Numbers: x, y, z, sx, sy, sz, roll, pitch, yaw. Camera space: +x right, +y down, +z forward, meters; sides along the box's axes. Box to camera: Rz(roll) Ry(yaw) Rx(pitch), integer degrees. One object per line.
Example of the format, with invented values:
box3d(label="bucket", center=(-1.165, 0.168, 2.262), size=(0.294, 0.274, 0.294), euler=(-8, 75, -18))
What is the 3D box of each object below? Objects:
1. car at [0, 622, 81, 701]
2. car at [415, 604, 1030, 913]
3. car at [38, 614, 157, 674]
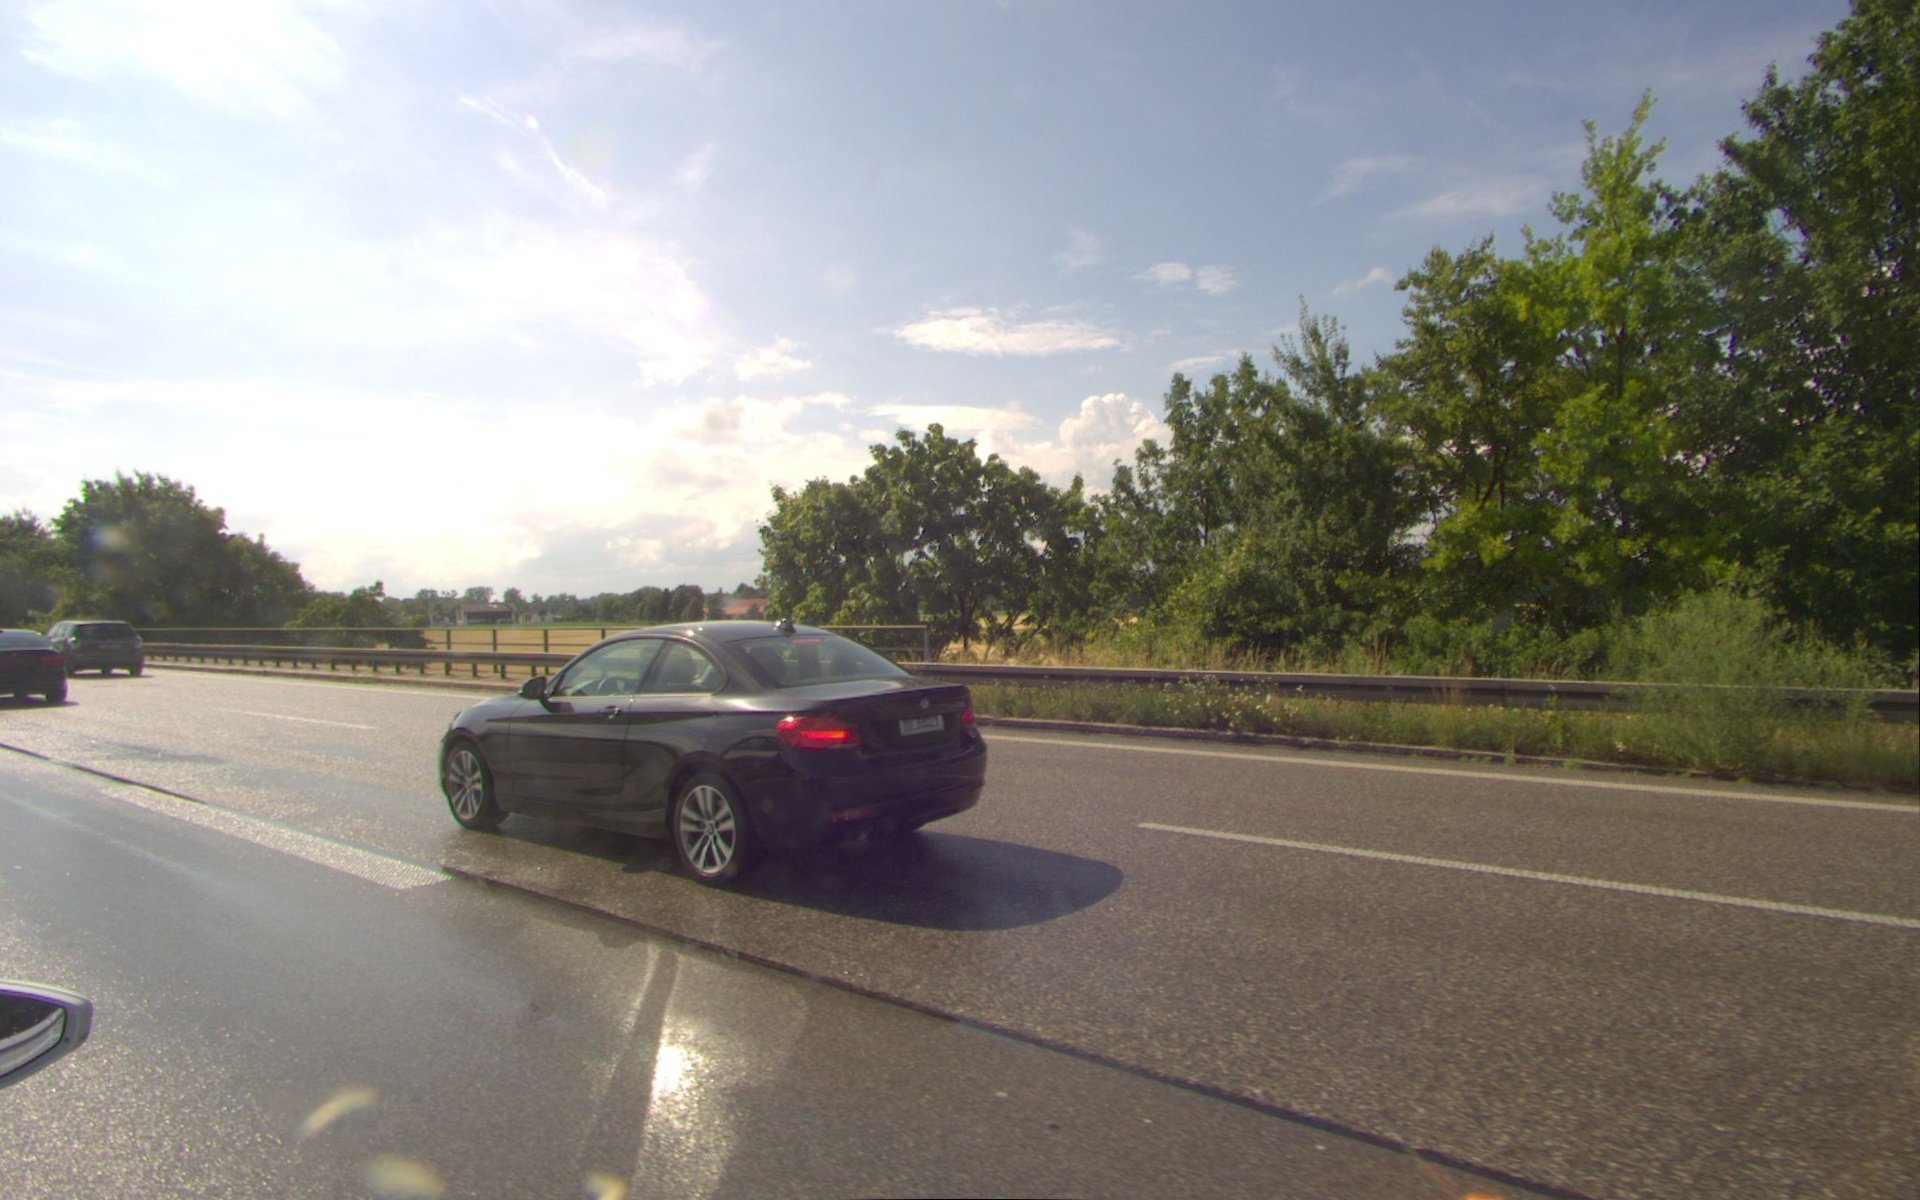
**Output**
box3d(label="car", center=(-18.942, 1.159, 19.665), size=(3.785, 1.439, 1.735), euler=(-1, 0, 36))
box3d(label="car", center=(-1.786, 0.808, 6.851), size=(4.201, 1.483, 1.842), euler=(-1, 0, 37))
box3d(label="car", center=(-25.685, 1.252, 29.793), size=(4.328, 1.634, 1.782), euler=(-1, 0, 37))
